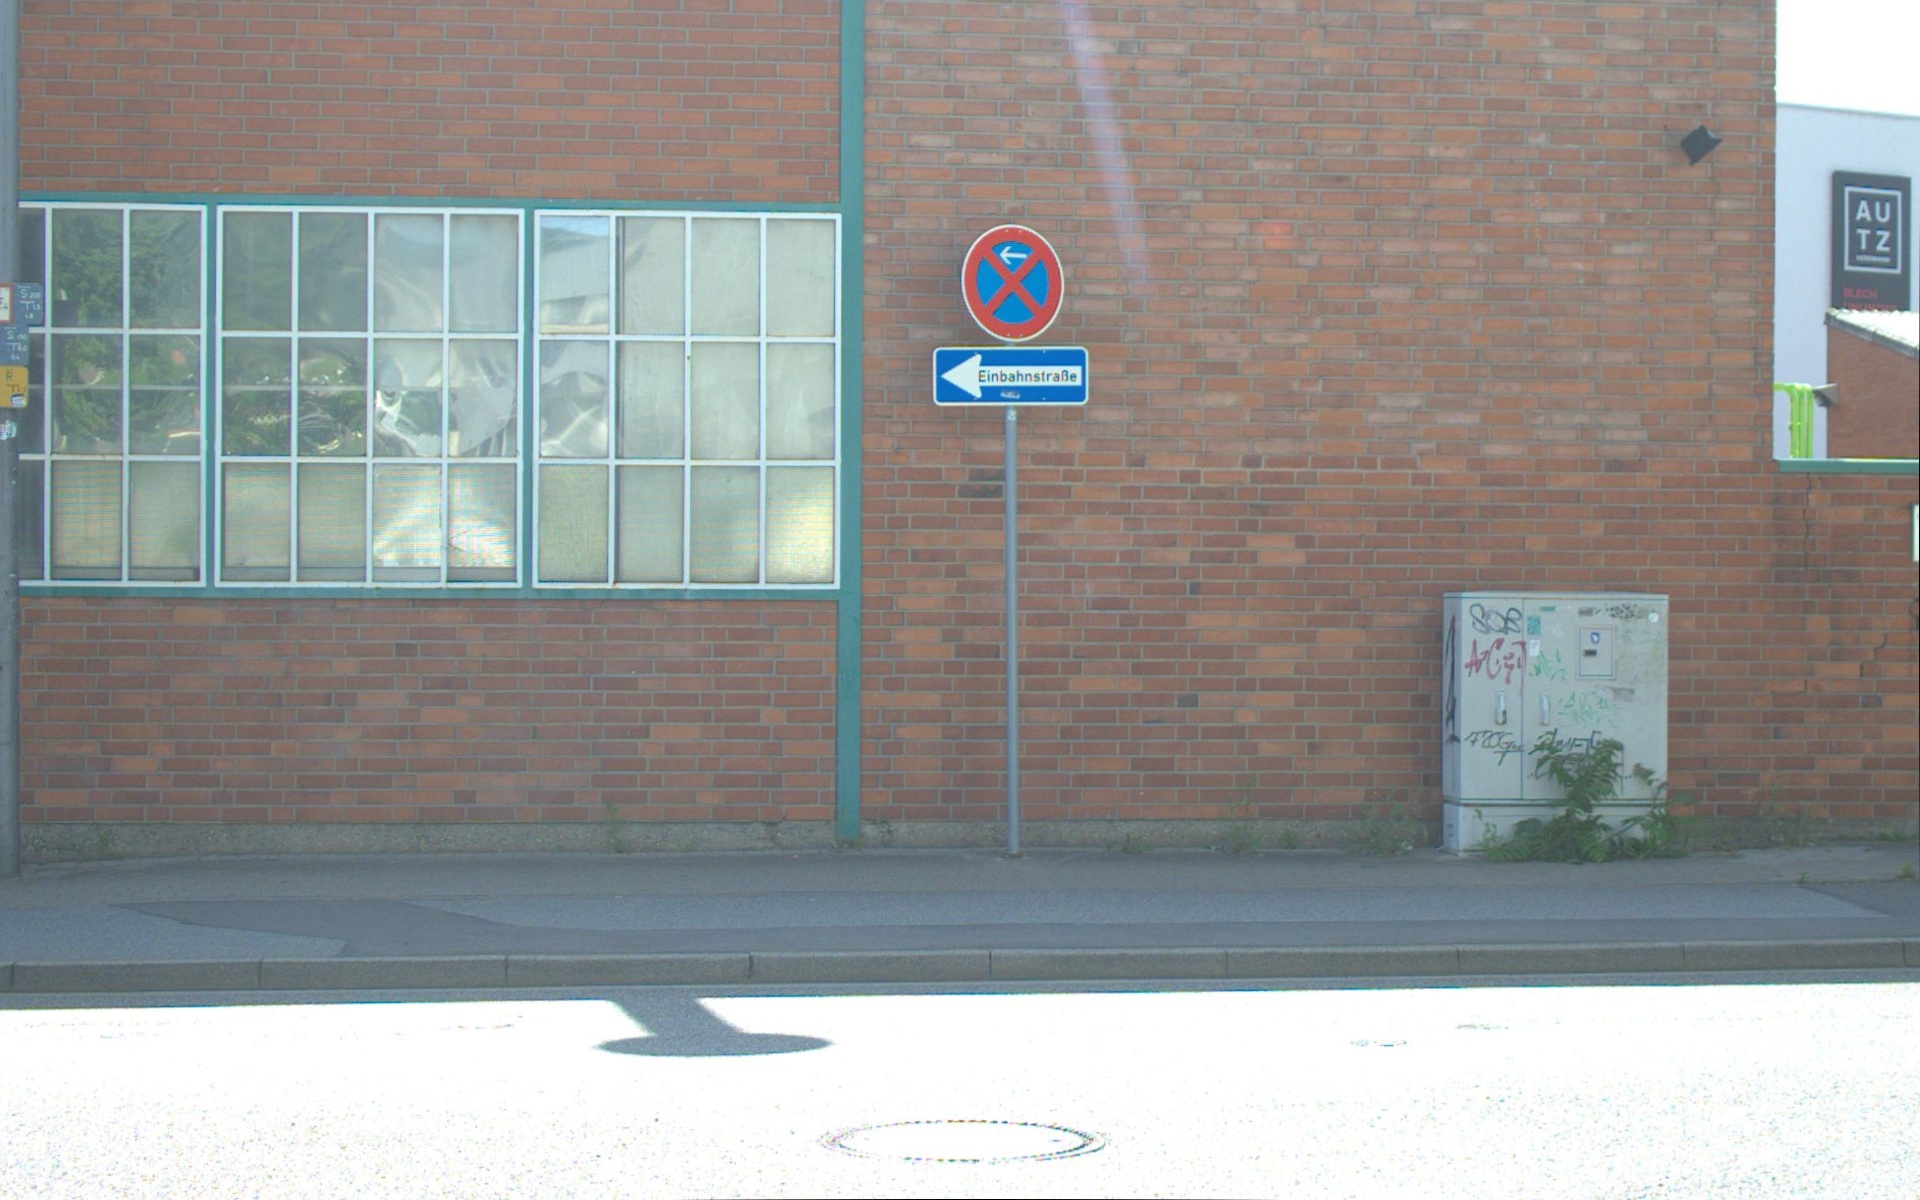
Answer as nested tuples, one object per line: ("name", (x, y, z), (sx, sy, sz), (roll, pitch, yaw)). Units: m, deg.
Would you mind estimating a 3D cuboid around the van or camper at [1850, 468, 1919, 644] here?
("van or camper", (12.267, -0.402, 38.179), (4.406, 1.894, 2.000), (2, 0, -30))
